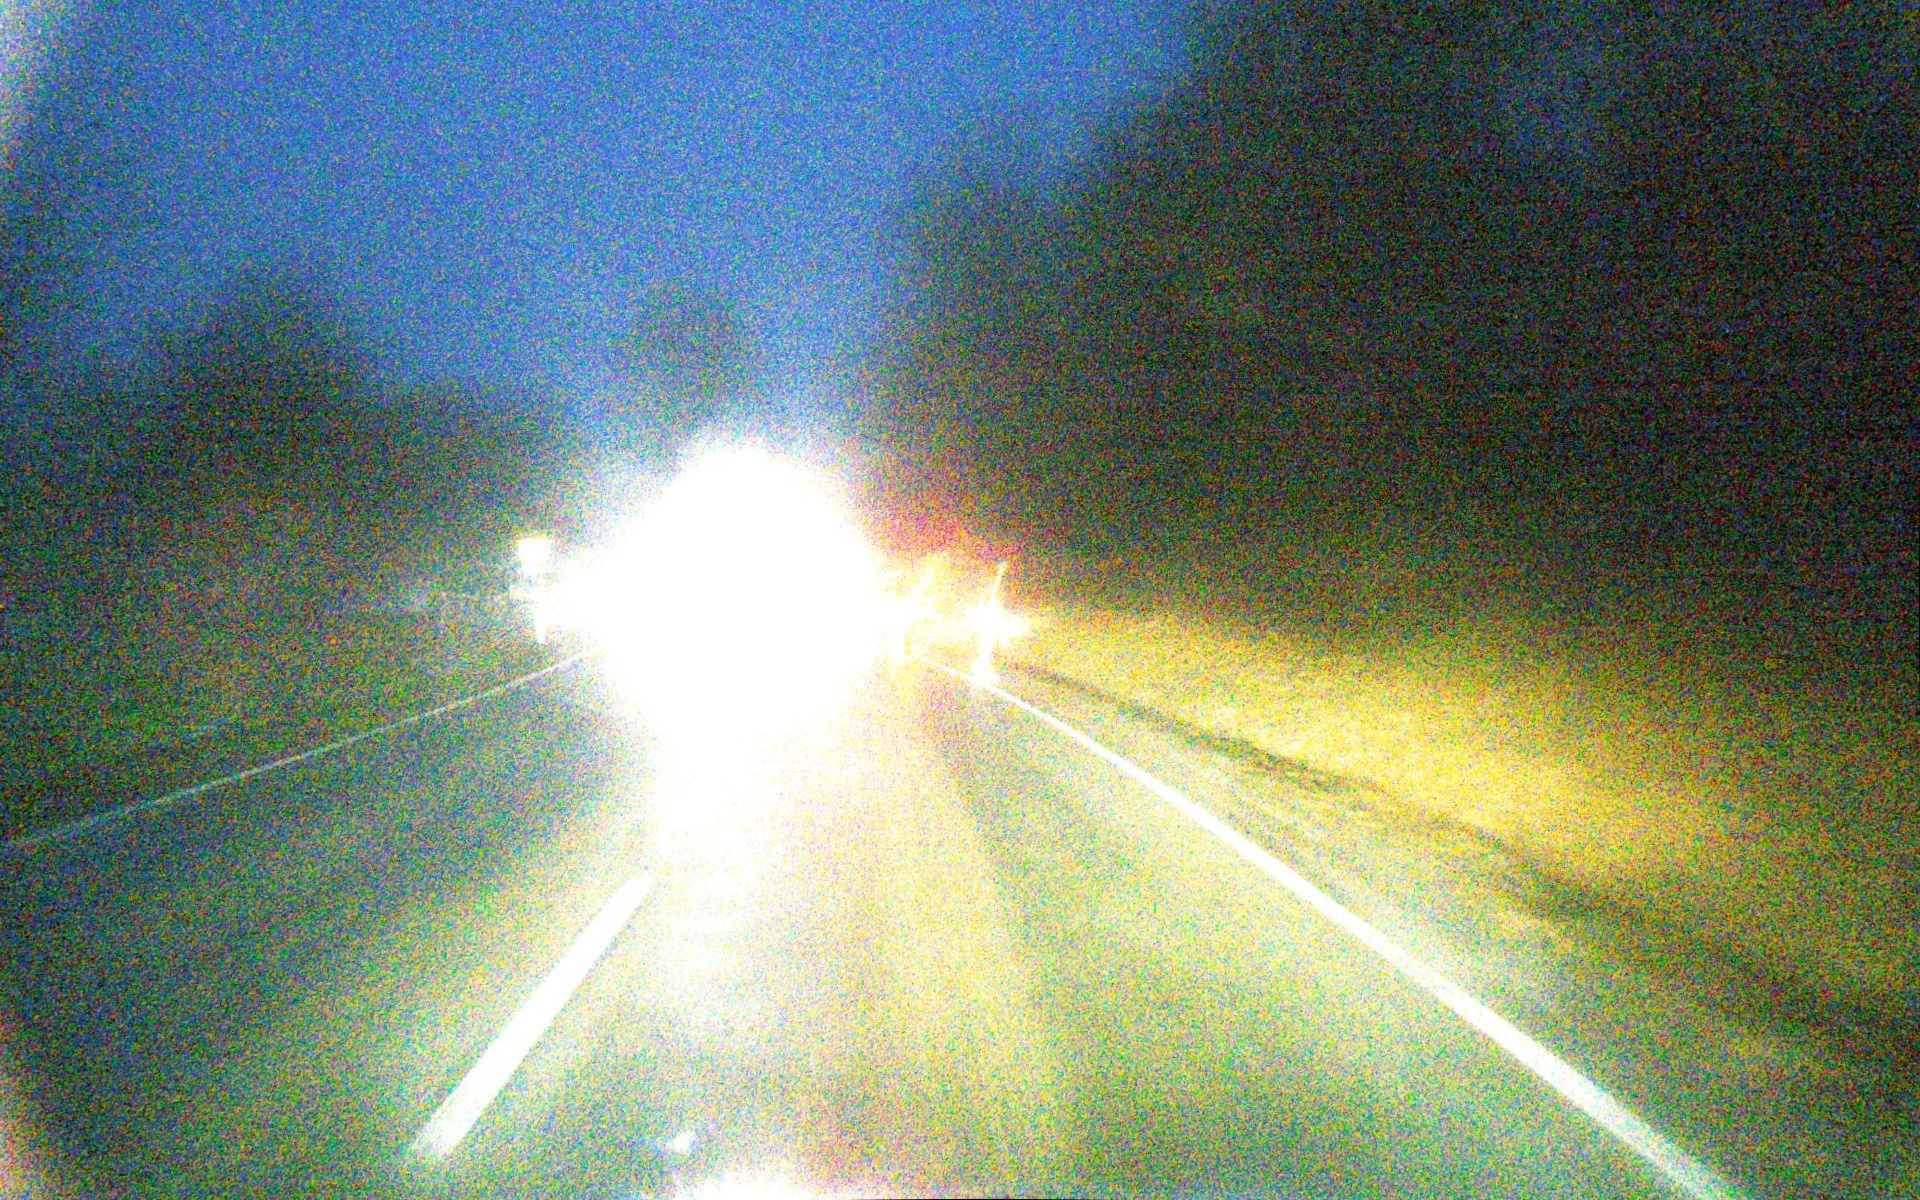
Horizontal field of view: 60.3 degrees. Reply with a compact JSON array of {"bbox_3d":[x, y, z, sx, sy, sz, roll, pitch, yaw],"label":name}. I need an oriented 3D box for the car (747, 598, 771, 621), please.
[{"bbox_3d":[-17.837,0.850,146.599,1.857,1.944,3.787,3,-1,-9],"label":"car"}]

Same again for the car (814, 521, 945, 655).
[{"bbox_3d":[-1.785,-0.255,34.510,2.489,2.541,5.708,0,0,-5],"label":"car"}]

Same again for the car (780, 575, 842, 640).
[{"bbox_3d":[-5.260,0.298,58.045,1.956,2.049,3.993,3,-3,-7],"label":"car"}]

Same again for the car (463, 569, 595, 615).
[{"bbox_3d":[-16.830,-0.312,64.834,4.823,1.765,1.995,0,0,-11],"label":"car"}]

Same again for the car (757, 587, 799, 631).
[{"bbox_3d":[-8.030,0.431,72.904,1.707,1.744,3.694,3,-3,-6],"label":"car"}]

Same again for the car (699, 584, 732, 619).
[{"bbox_3d":[-13.985,0.067,94.395,1.721,1.764,3.992,3,1,-9],"label":"car"}]

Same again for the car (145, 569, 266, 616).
[{"bbox_3d":[-29.073,-0.295,63.733,4.107,1.717,1.676,-1,-1,-31],"label":"car"}]
